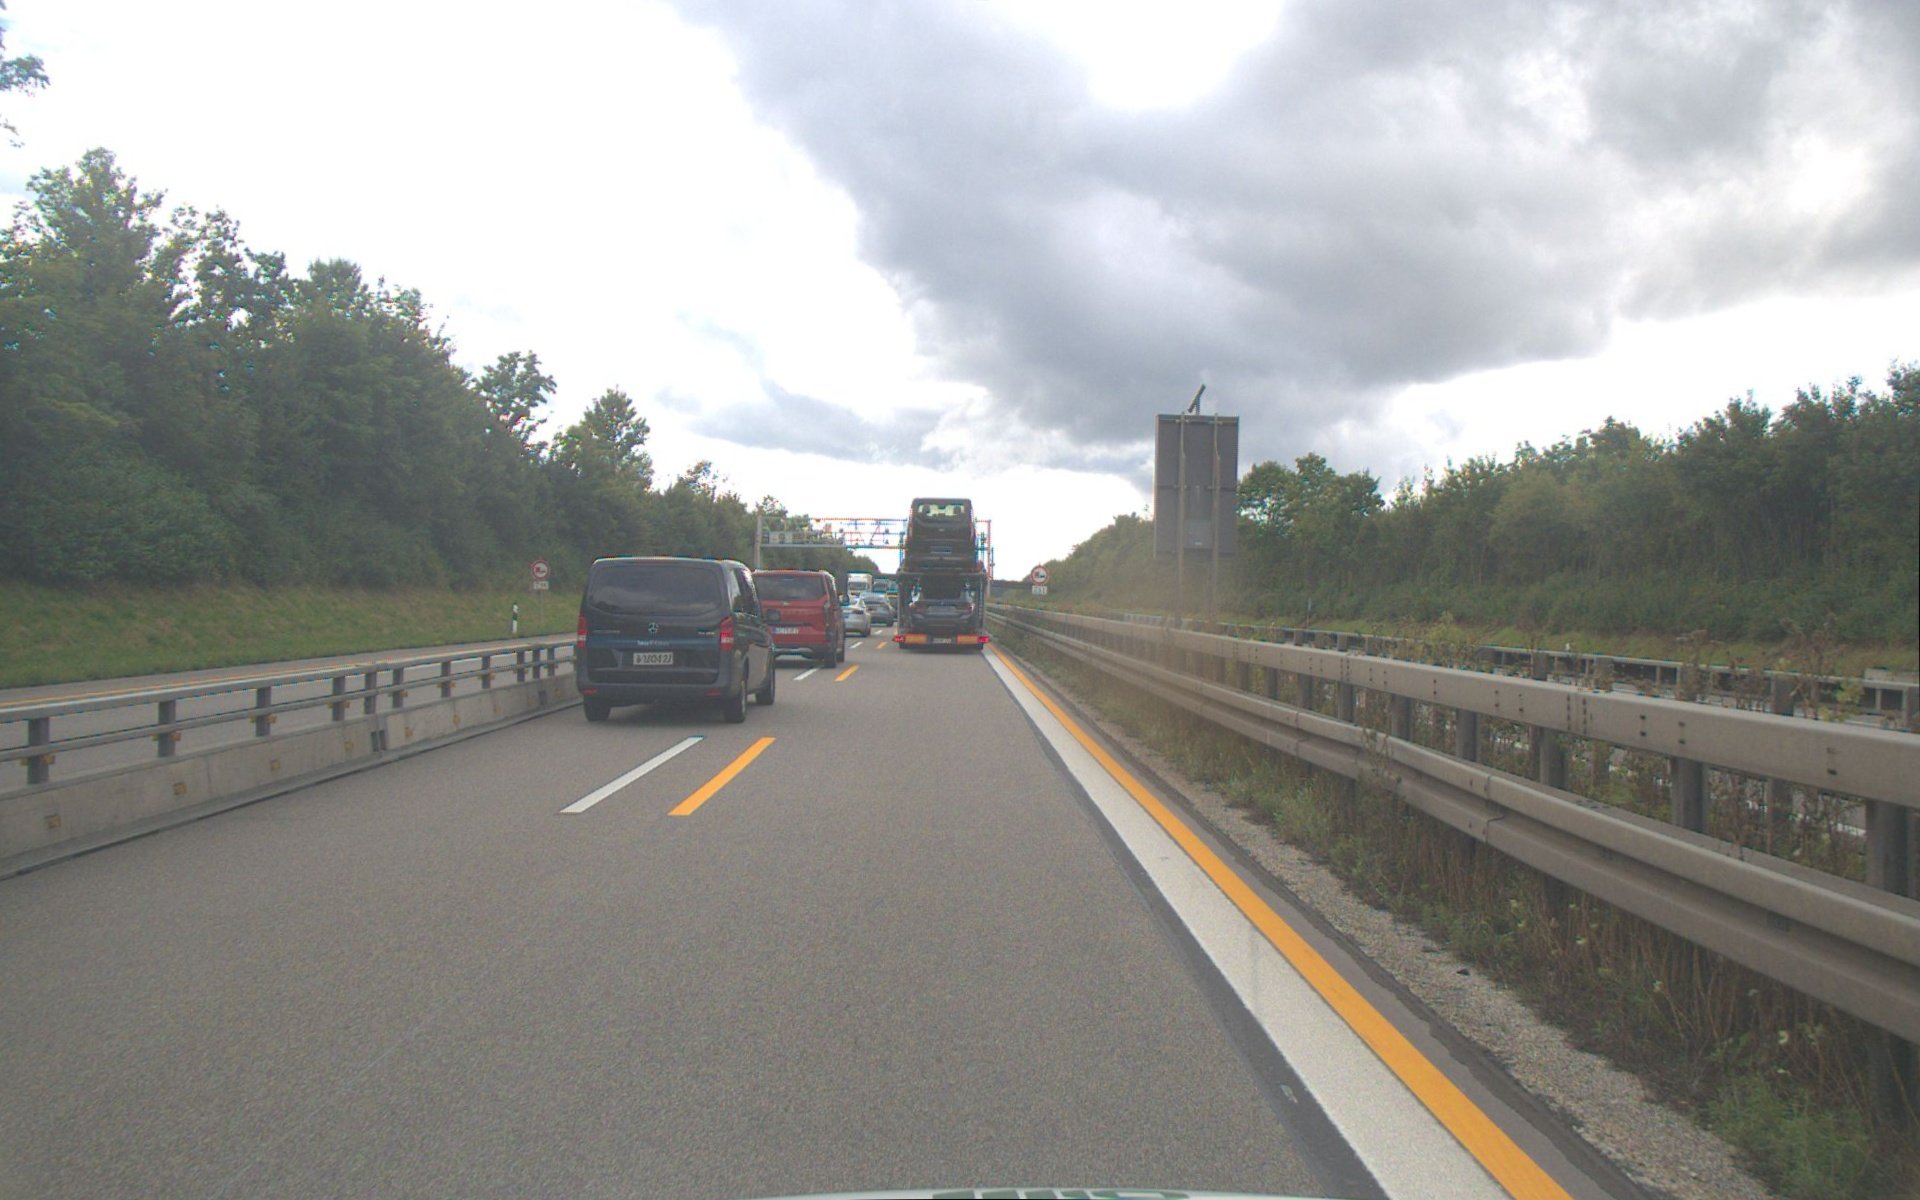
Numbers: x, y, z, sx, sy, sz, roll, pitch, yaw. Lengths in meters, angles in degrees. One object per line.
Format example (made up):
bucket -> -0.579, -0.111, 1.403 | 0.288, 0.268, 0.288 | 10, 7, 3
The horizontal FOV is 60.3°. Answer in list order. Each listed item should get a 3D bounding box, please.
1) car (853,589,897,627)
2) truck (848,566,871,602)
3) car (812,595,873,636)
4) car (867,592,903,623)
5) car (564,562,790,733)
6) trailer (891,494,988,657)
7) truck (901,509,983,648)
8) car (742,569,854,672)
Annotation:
car -> -4.128, 0.384, 80.663 | 1.990, 1.788, 4.576 | 0, 0, -1
truck -> -12.384, -1.982, 203.456 | 2.545, 4.227, 5.619 | 1, 1, -1
car -> -4.275, 0.549, 60.768 | 1.990, 1.456, 4.576 | 0, 0, -1
car -> -4.350, 0.435, 96.347 | 1.990, 1.788, 4.576 | 0, 0, -2
car -> -3.395, 0.511, 20.953 | 1.953, 1.875, 5.608 | 0, 0, -1
trailer -> -0.532, -0.647, 48.280 | 2.464, 4.177, 11.112 | 1, 0, 0
truck -> -0.548, -0.656, 53.026 | 2.464, 4.177, 5.685 | 1, 0, 0
car -> -3.391, 0.406, 35.435 | 1.990, 2.049, 4.577 | 0, 0, -1
